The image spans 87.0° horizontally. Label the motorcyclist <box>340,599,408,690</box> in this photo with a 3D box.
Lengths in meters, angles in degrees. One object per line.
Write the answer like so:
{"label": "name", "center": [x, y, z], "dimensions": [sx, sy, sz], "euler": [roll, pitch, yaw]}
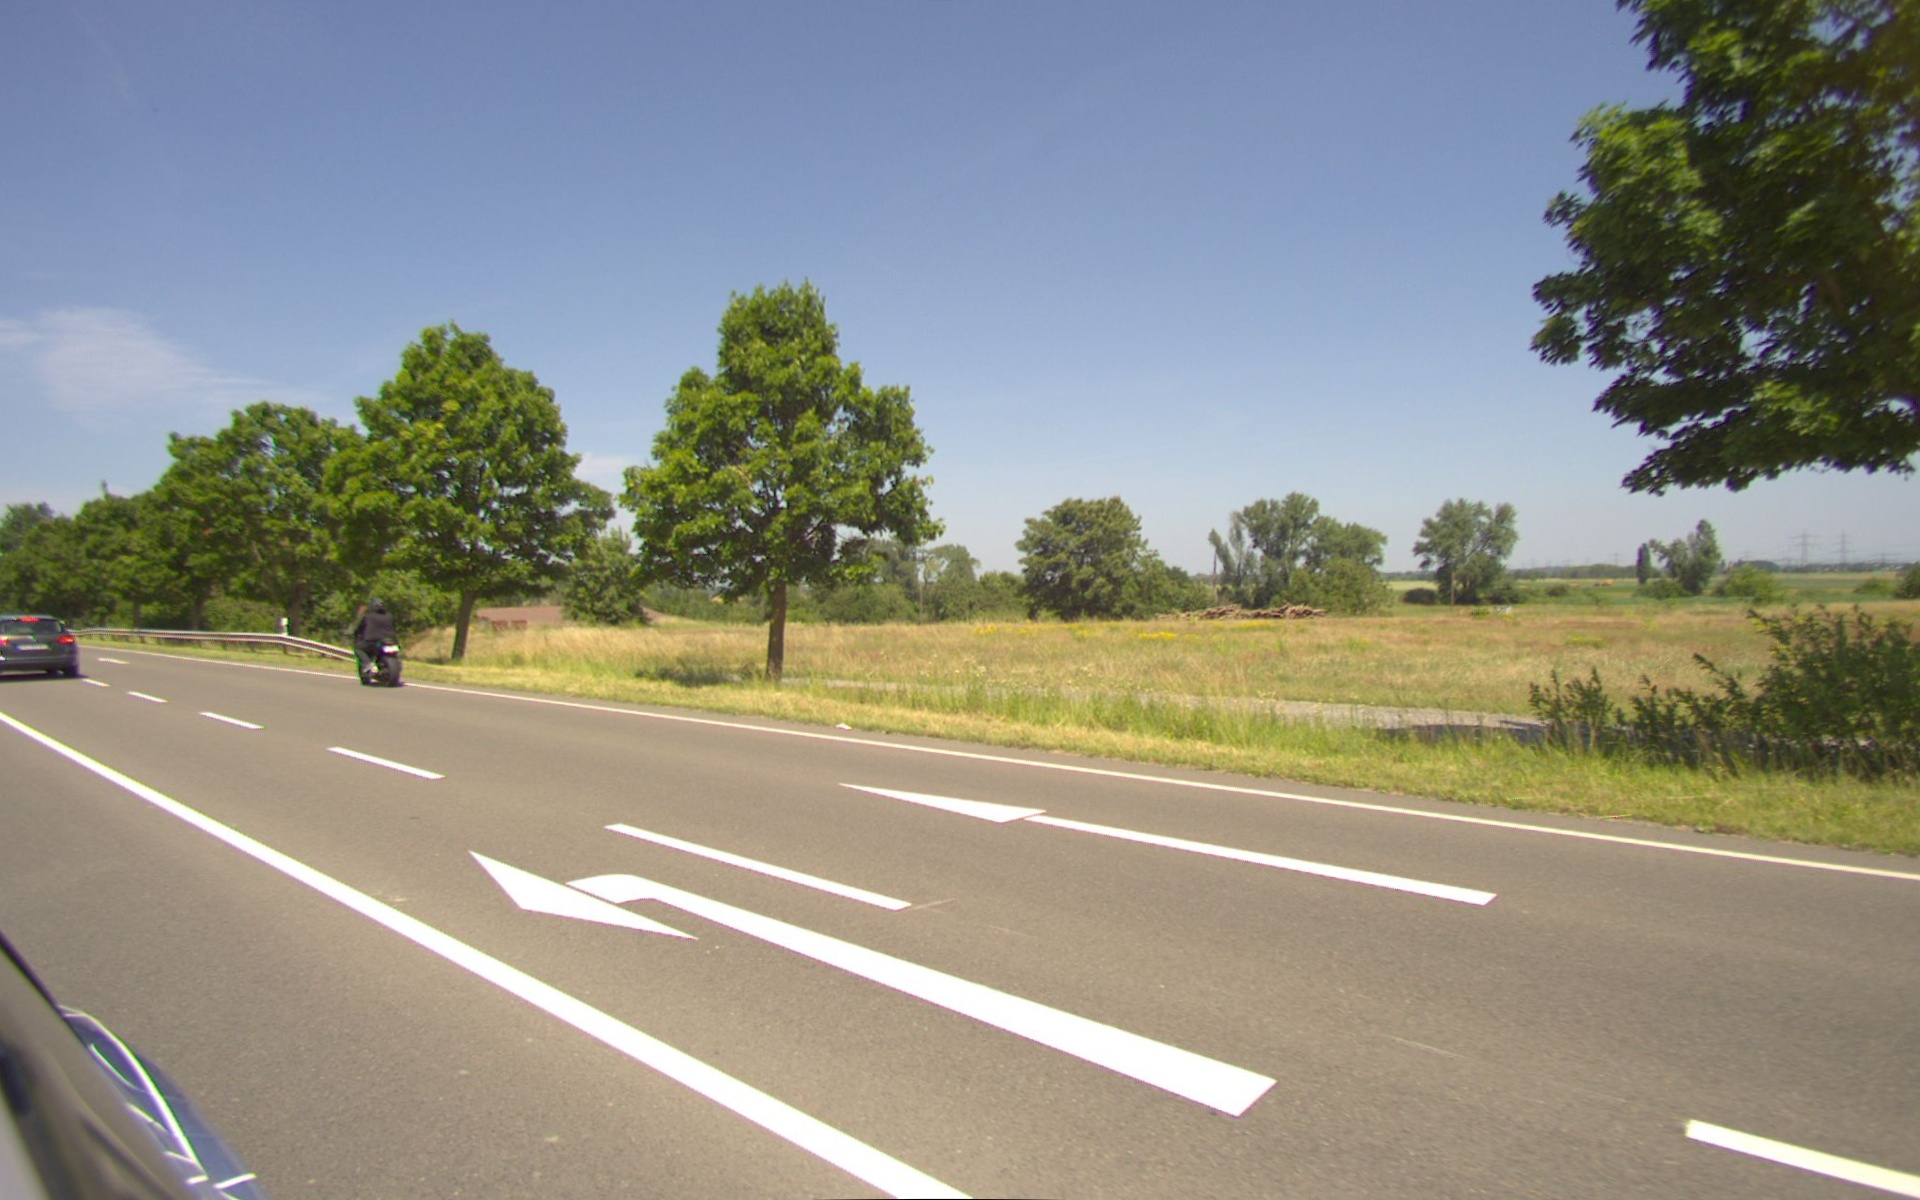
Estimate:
{"label": "motorcyclist", "center": [-11.525, 0.855, 19.908], "dimensions": [1.088, 1.734, 0.844], "euler": [-1, -1, 41]}

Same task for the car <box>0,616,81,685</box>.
{"label": "car", "center": [-22.283, 1.133, 23.813], "dimensions": [4.614, 1.484, 1.722], "euler": [-1, -1, 40]}

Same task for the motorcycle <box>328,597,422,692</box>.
{"label": "motorcycle", "center": [-11.509, 0.845, 19.869], "dimensions": [2.444, 1.756, 0.879], "euler": [-1, -1, 42]}
